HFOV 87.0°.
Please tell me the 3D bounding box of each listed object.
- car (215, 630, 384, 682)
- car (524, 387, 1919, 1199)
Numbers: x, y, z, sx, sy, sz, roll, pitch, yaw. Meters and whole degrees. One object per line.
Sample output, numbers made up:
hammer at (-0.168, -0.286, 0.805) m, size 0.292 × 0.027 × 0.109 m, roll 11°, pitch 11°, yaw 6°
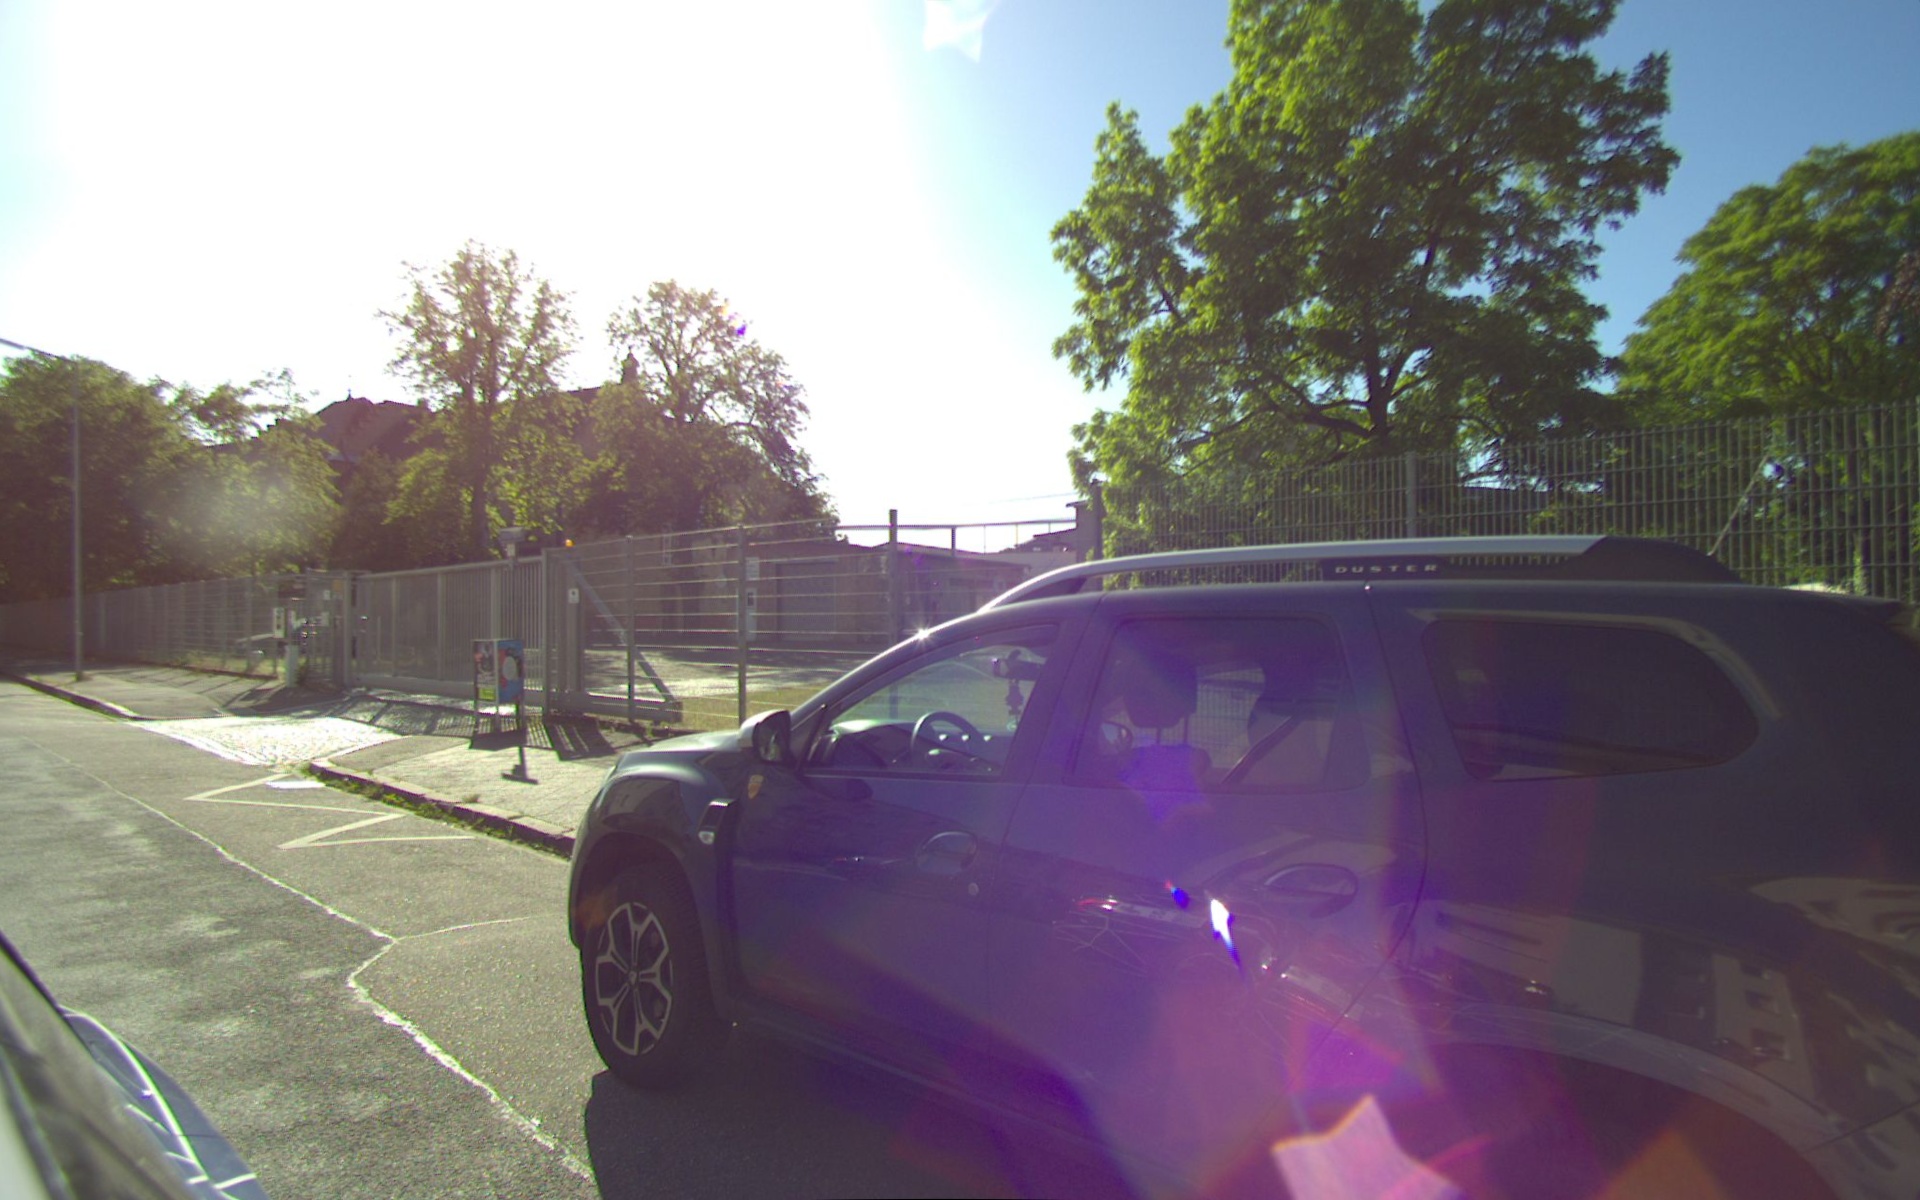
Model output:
car at (-20.102, 1.650, 30.919) m, size 1.998 × 1.431 × 3.946 m, roll -2°, pitch -2°, yaw 40°
car at (0.598, 0.649, 2.907) m, size 4.162 × 1.676 × 1.694 m, roll -1°, pitch -5°, yaw 41°
